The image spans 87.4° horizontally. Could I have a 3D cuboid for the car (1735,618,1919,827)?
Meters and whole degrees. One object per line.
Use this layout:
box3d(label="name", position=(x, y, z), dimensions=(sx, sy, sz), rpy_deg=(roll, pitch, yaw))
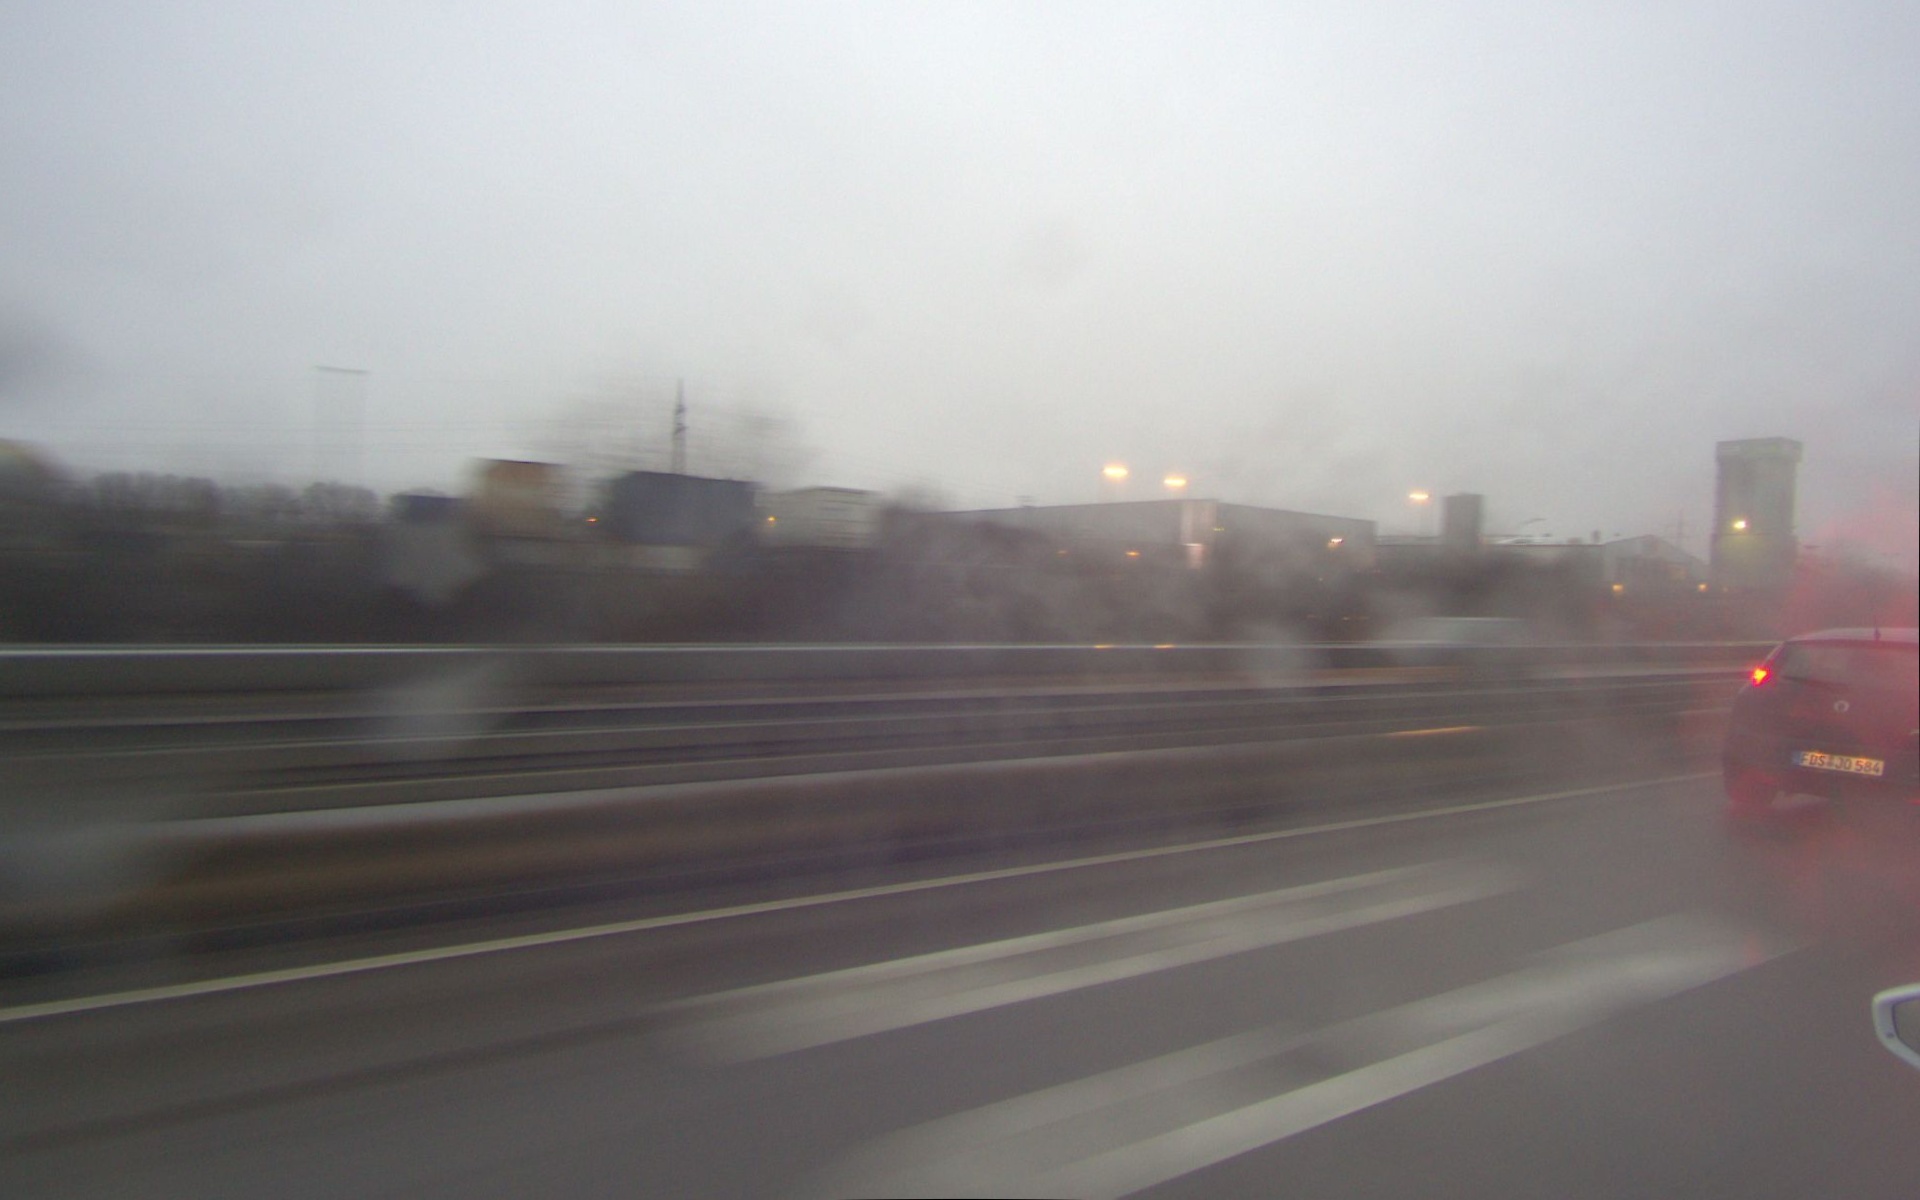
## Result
box3d(label="car", position=(8.304, 0.934, 8.337), dimensions=(3.955, 1.410, 1.617), rpy_deg=(2, 1, -31))

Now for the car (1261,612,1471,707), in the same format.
box3d(label="car", position=(7.889, 1.100, 19.464), dimensions=(3.954, 1.662, 1.732), rpy_deg=(1, 0, -31))
